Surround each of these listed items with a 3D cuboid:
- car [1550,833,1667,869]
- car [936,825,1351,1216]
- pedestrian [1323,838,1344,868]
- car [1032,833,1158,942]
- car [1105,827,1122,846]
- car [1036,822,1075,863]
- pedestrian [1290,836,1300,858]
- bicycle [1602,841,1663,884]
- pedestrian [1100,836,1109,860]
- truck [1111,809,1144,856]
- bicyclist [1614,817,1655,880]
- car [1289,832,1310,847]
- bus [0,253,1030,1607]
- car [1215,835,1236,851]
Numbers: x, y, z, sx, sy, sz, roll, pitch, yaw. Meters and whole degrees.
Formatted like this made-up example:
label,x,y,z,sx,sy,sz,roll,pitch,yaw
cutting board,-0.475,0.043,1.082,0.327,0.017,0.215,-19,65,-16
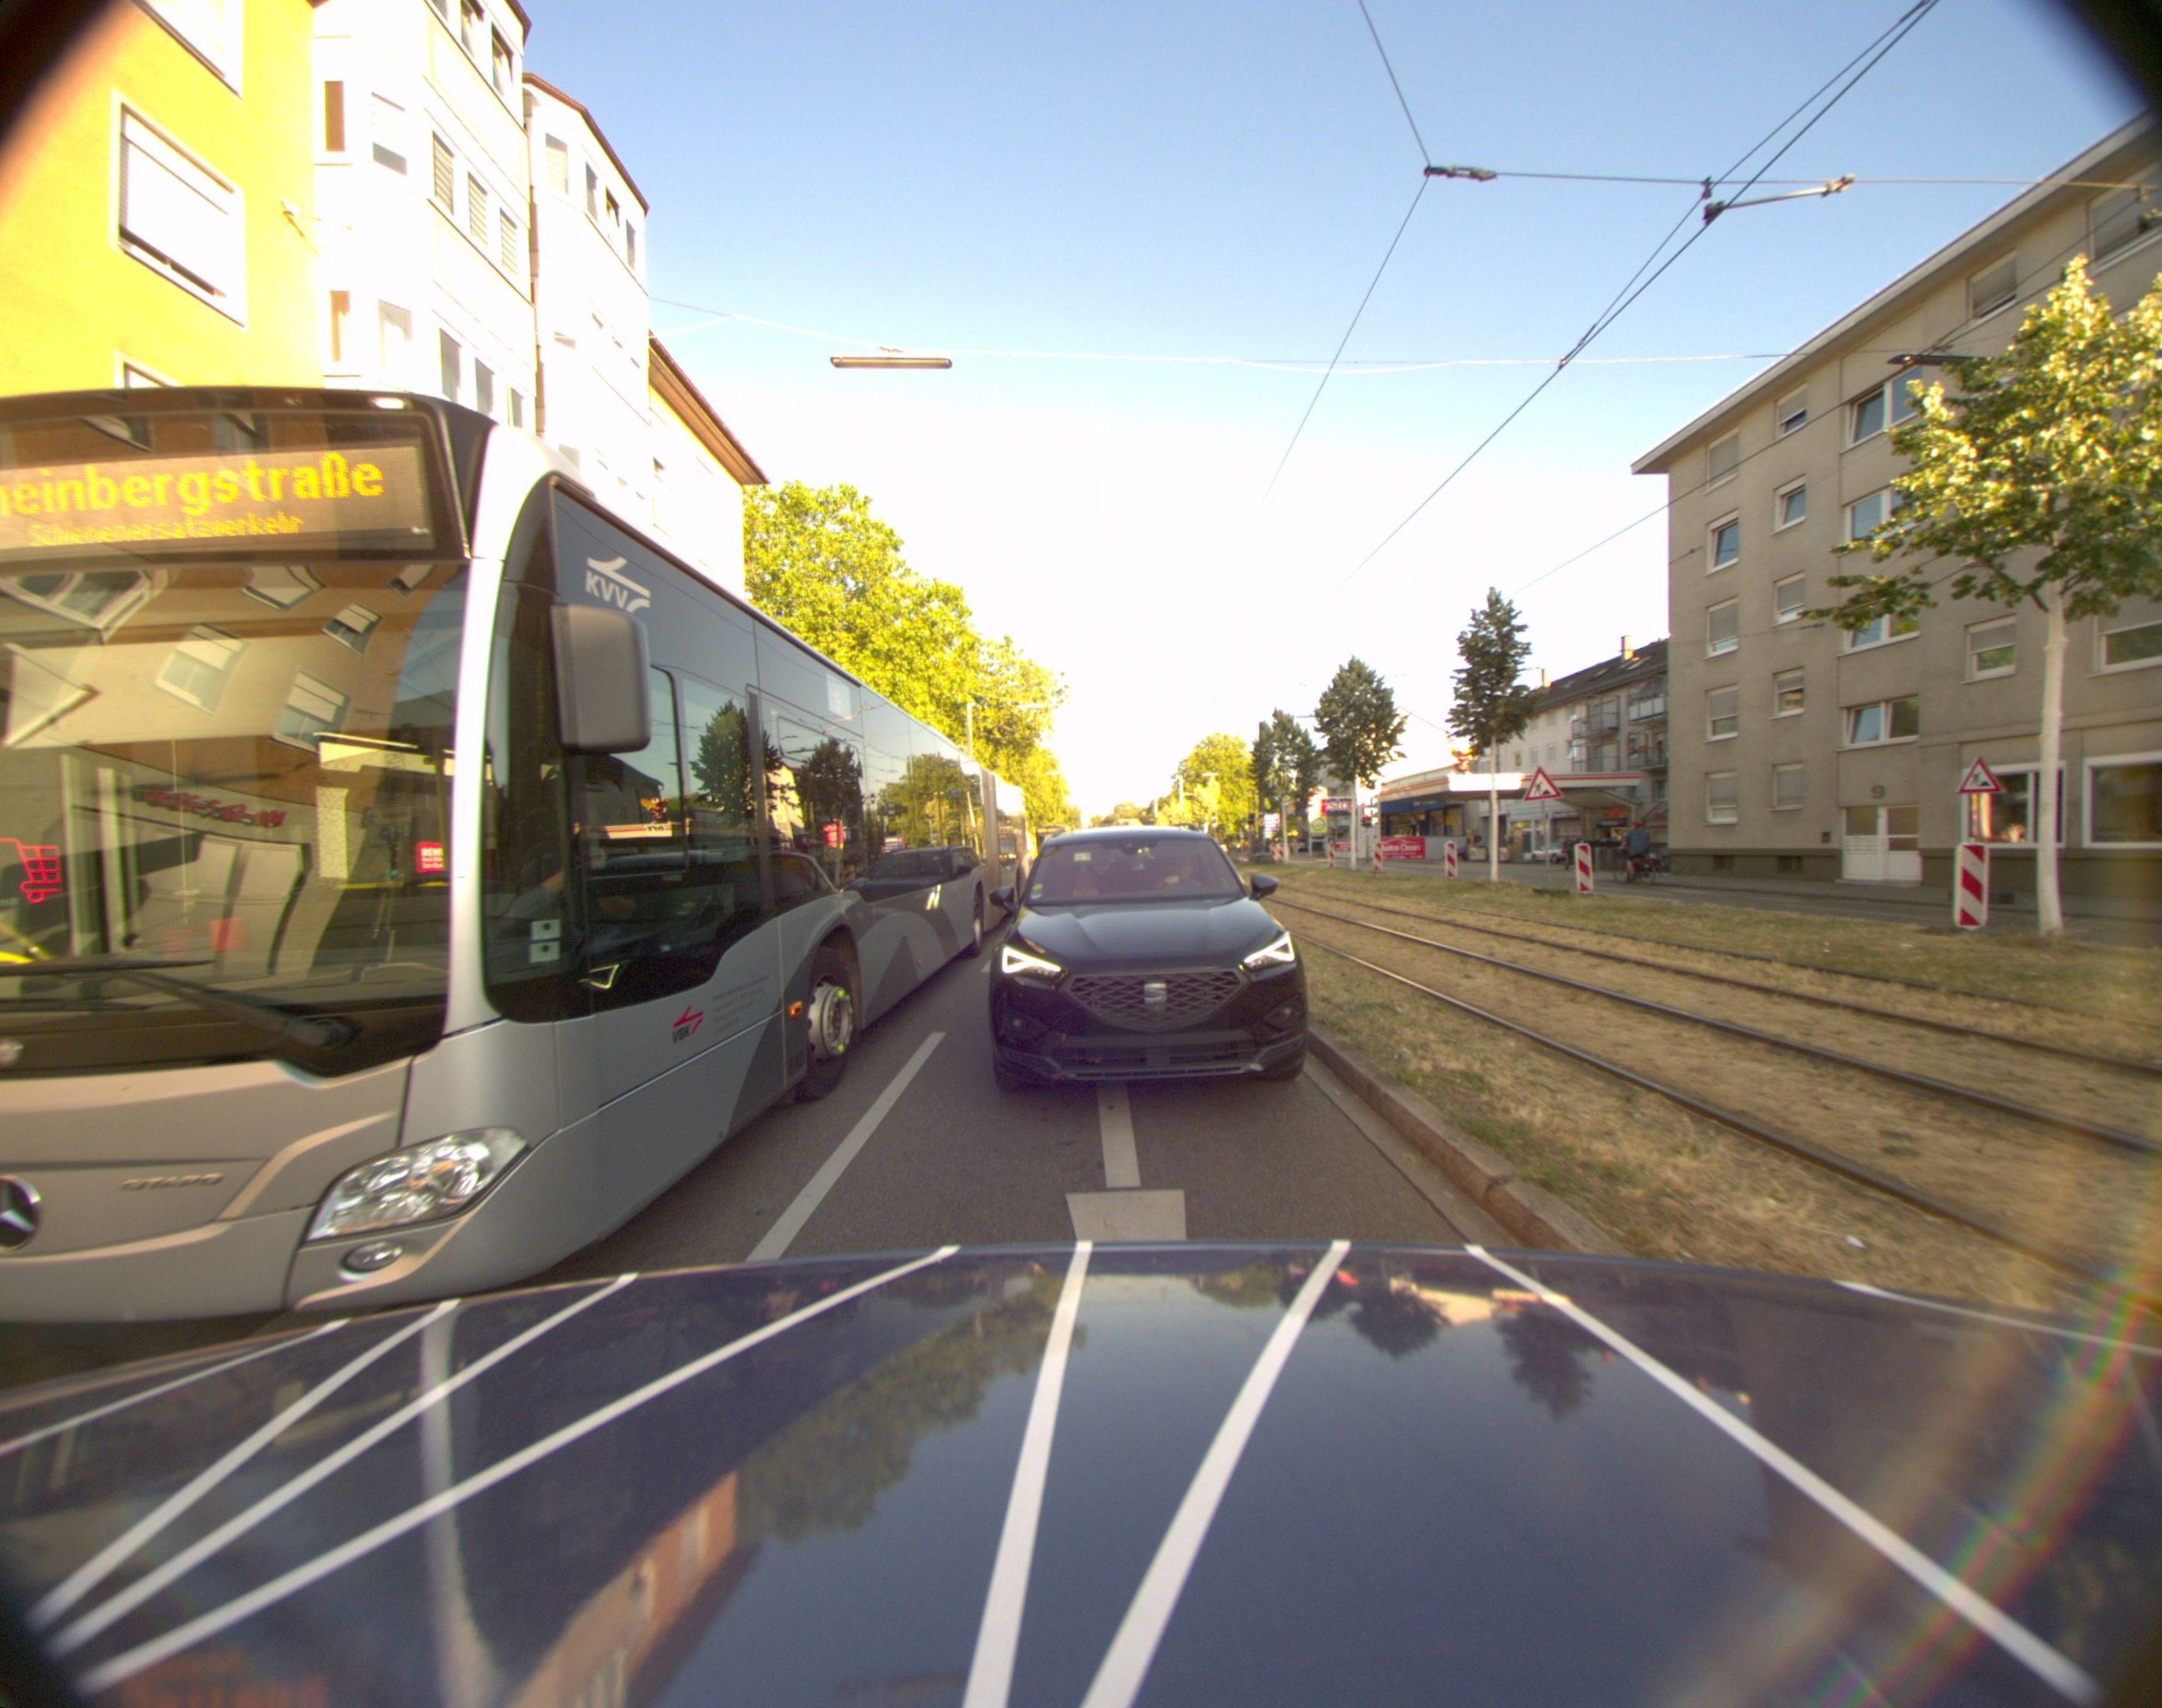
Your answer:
label,x,y,z,sx,sy,sz,roll,pitch,yaw
car,22.711,-0.107,32.839,3.727,1.460,1.908,-1,-1,0
car,0.303,0.713,5.375,1.774,1.668,3.999,-3,1,1
pedestrian,10.910,-0.046,32.819,0.664,1.263,0.581,-2,1,1
car,0.243,0.499,14.142,1.998,1.740,3.999,-1,1,0
car,3.634,-1.950,85.173,1.767,2.002,3.790,-2,2,1
car,-1.848,-0.900,57.329,2.681,2.875,5.451,-2,2,0
pedestrian,20.136,-0.669,71.375,0.632,2.002,0.583,-4,2,2
bicycle,16.873,0.245,23.291,0.456,1.250,1.870,-1,0,-1
pedestrian,1.968,-0.516,63.210,0.625,2.002,0.695,-2,1,0
truck,3.940,-1.885,66.140,2.306,3.799,7.721,-2,2,1
bicyclist,16.878,-0.171,23.183,0.653,1.872,0.809,0,1,-1
car,24.892,-1.667,86.491,1.781,1.547,4.001,-2,2,9
bus,-2.811,0.066,10.639,2.773,3.132,17.737,-2,1,0
car,17.088,-1.341,89.870,1.998,1.725,4.394,-2,2,5
